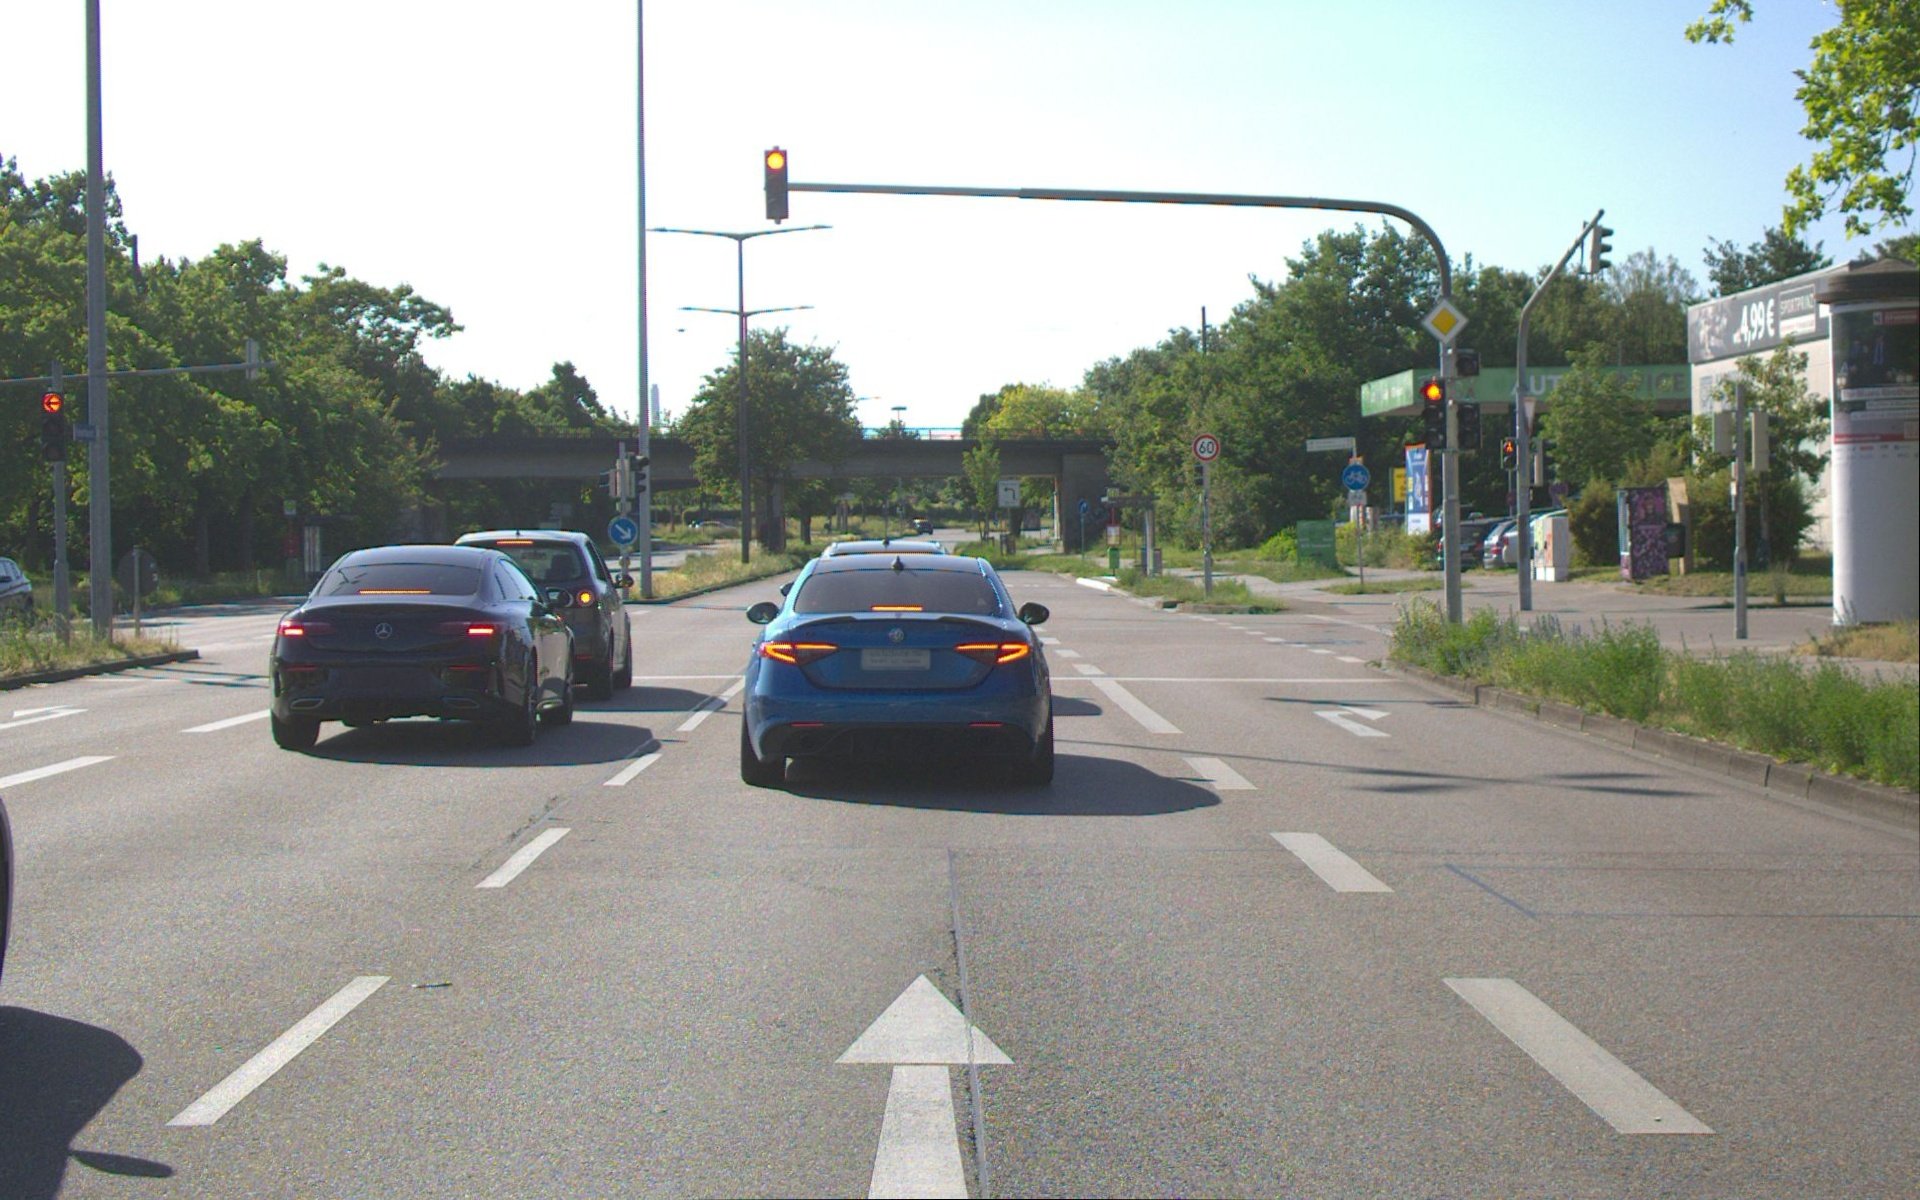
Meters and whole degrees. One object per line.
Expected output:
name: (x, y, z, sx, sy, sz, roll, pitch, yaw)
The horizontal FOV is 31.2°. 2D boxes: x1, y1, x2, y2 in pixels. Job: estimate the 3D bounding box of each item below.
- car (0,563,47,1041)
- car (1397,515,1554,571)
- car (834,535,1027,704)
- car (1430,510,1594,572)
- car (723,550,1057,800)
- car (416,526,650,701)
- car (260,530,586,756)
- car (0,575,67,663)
car: (-3.856, 0.631, 8.858, 1.812, 1.481, 4.596, 1, 0, -1)
car: (14.823, -1.637, 98.952, 3.986, 1.547, 2.001, 1, 0, -17)
car: (-0.226, 0.161, 32.742, 1.704, 1.492, 3.719, 1, 0, 1)
car: (14.453, -1.543, 90.201, 3.987, 1.547, 2.000, 1, 0, 1)
car: (-0.360, 0.420, 21.686, 1.910, 1.418, 3.719, 1, 0, 1)
car: (-4.029, 0.103, 33.017, 1.812, 1.546, 4.354, 1, 0, -2)
car: (-3.924, 0.253, 25.818, 1.812, 1.546, 4.544, 0, 1, -1)
car: (-19.959, 0.382, 69.873, 1.803, 1.720, 4.320, 0, 1, 11)
